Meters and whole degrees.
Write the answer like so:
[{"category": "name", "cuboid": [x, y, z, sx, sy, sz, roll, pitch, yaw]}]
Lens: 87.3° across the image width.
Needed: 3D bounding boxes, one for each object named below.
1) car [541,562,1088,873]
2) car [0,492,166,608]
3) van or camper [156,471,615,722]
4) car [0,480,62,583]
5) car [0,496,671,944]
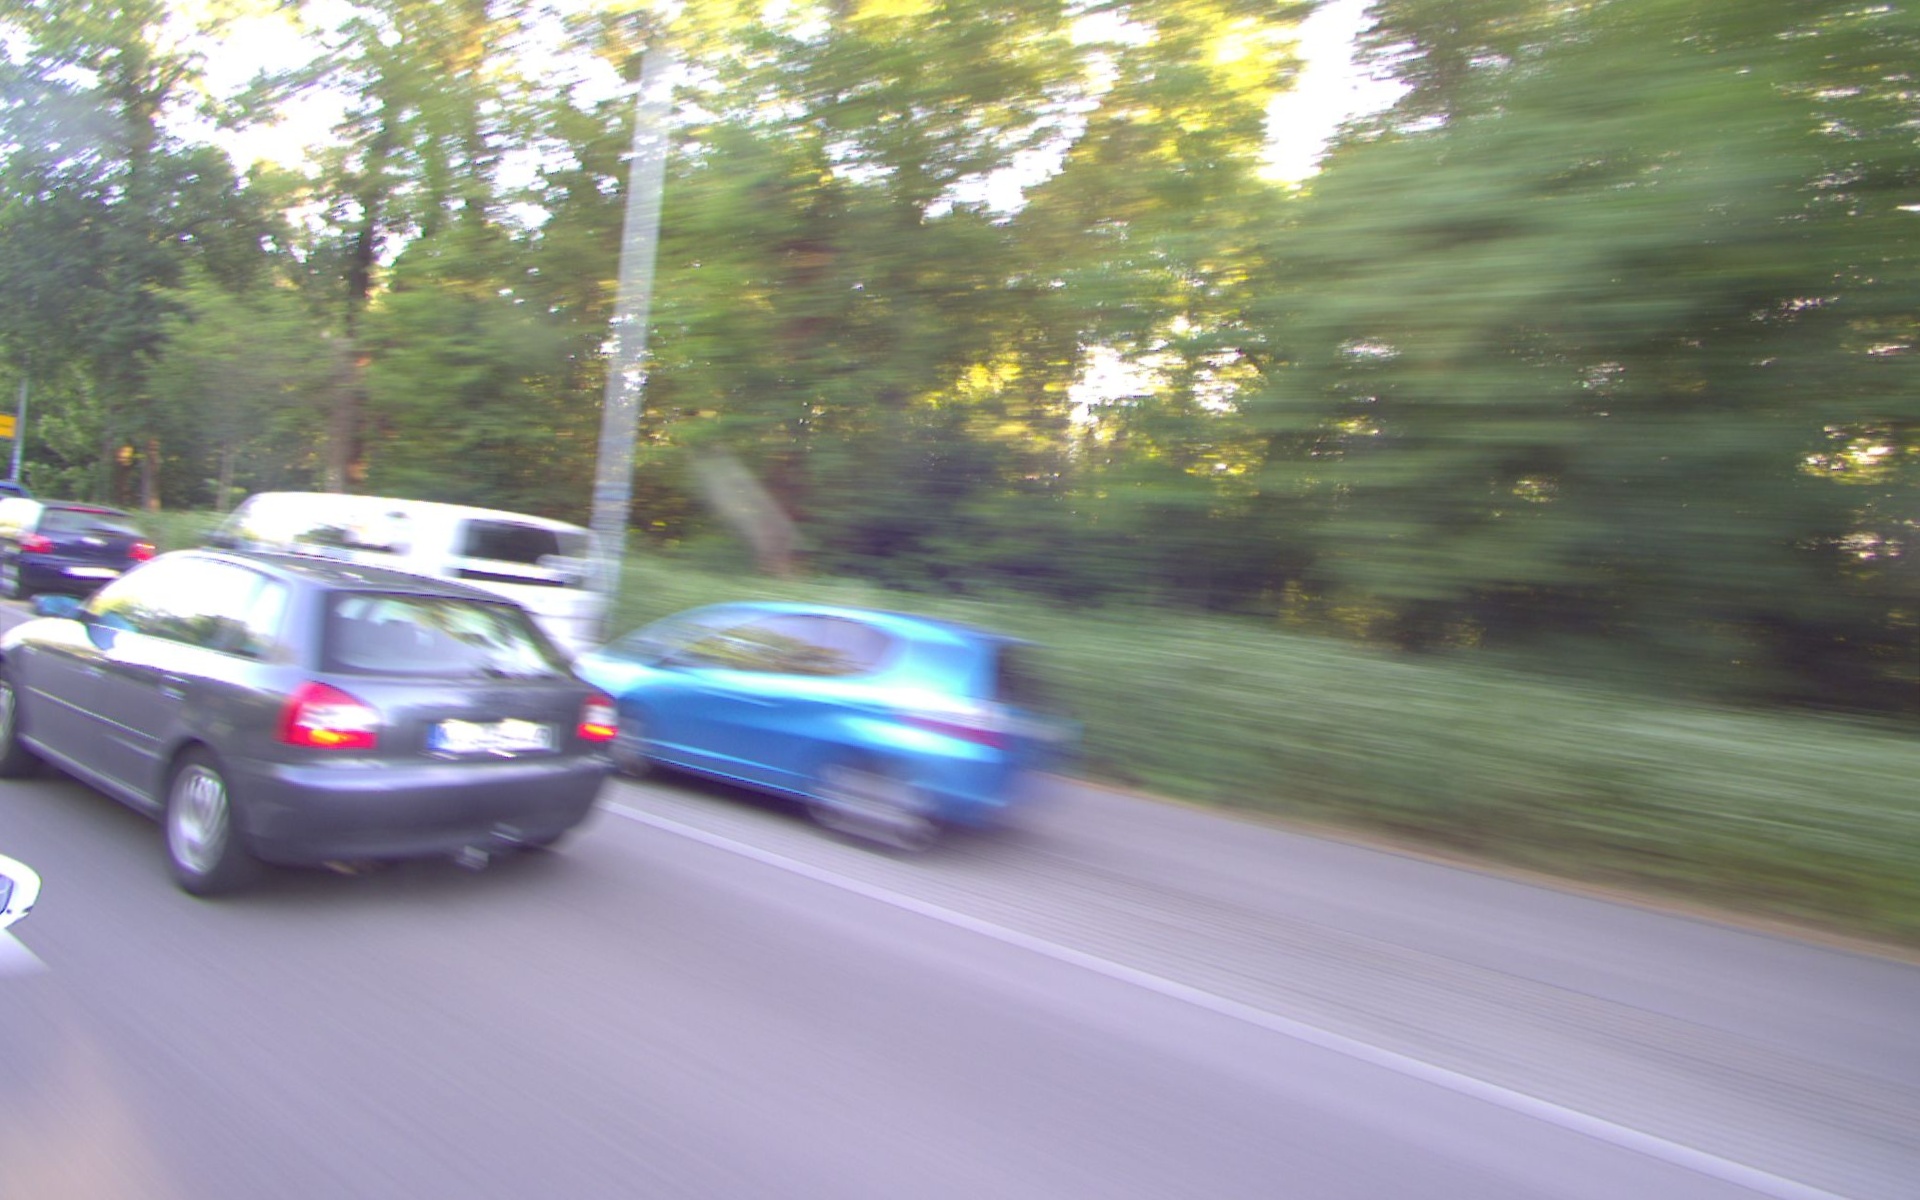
[{"category": "car", "cuboid": [-1.184, 0.727, 7.663, 3.802, 1.541, 1.650, 7, 0, 31]}, {"category": "car", "cuboid": [-14.313, -0.865, 15.772, 4.046, 1.459, 1.651, 7, 1, 33]}, {"category": "van or camper", "cuboid": [-6.308, -0.128, 10.801, 5.253, 1.994, 1.835, 7, -1, 32]}, {"category": "car", "cuboid": [-18.645, -1.443, 18.769, 4.023, 1.725, 1.729, 7, 0, 33]}, {"category": "car", "cuboid": [-3.684, 0.378, 5.421, 4.022, 1.459, 1.730, 7, 0, 32]}]
